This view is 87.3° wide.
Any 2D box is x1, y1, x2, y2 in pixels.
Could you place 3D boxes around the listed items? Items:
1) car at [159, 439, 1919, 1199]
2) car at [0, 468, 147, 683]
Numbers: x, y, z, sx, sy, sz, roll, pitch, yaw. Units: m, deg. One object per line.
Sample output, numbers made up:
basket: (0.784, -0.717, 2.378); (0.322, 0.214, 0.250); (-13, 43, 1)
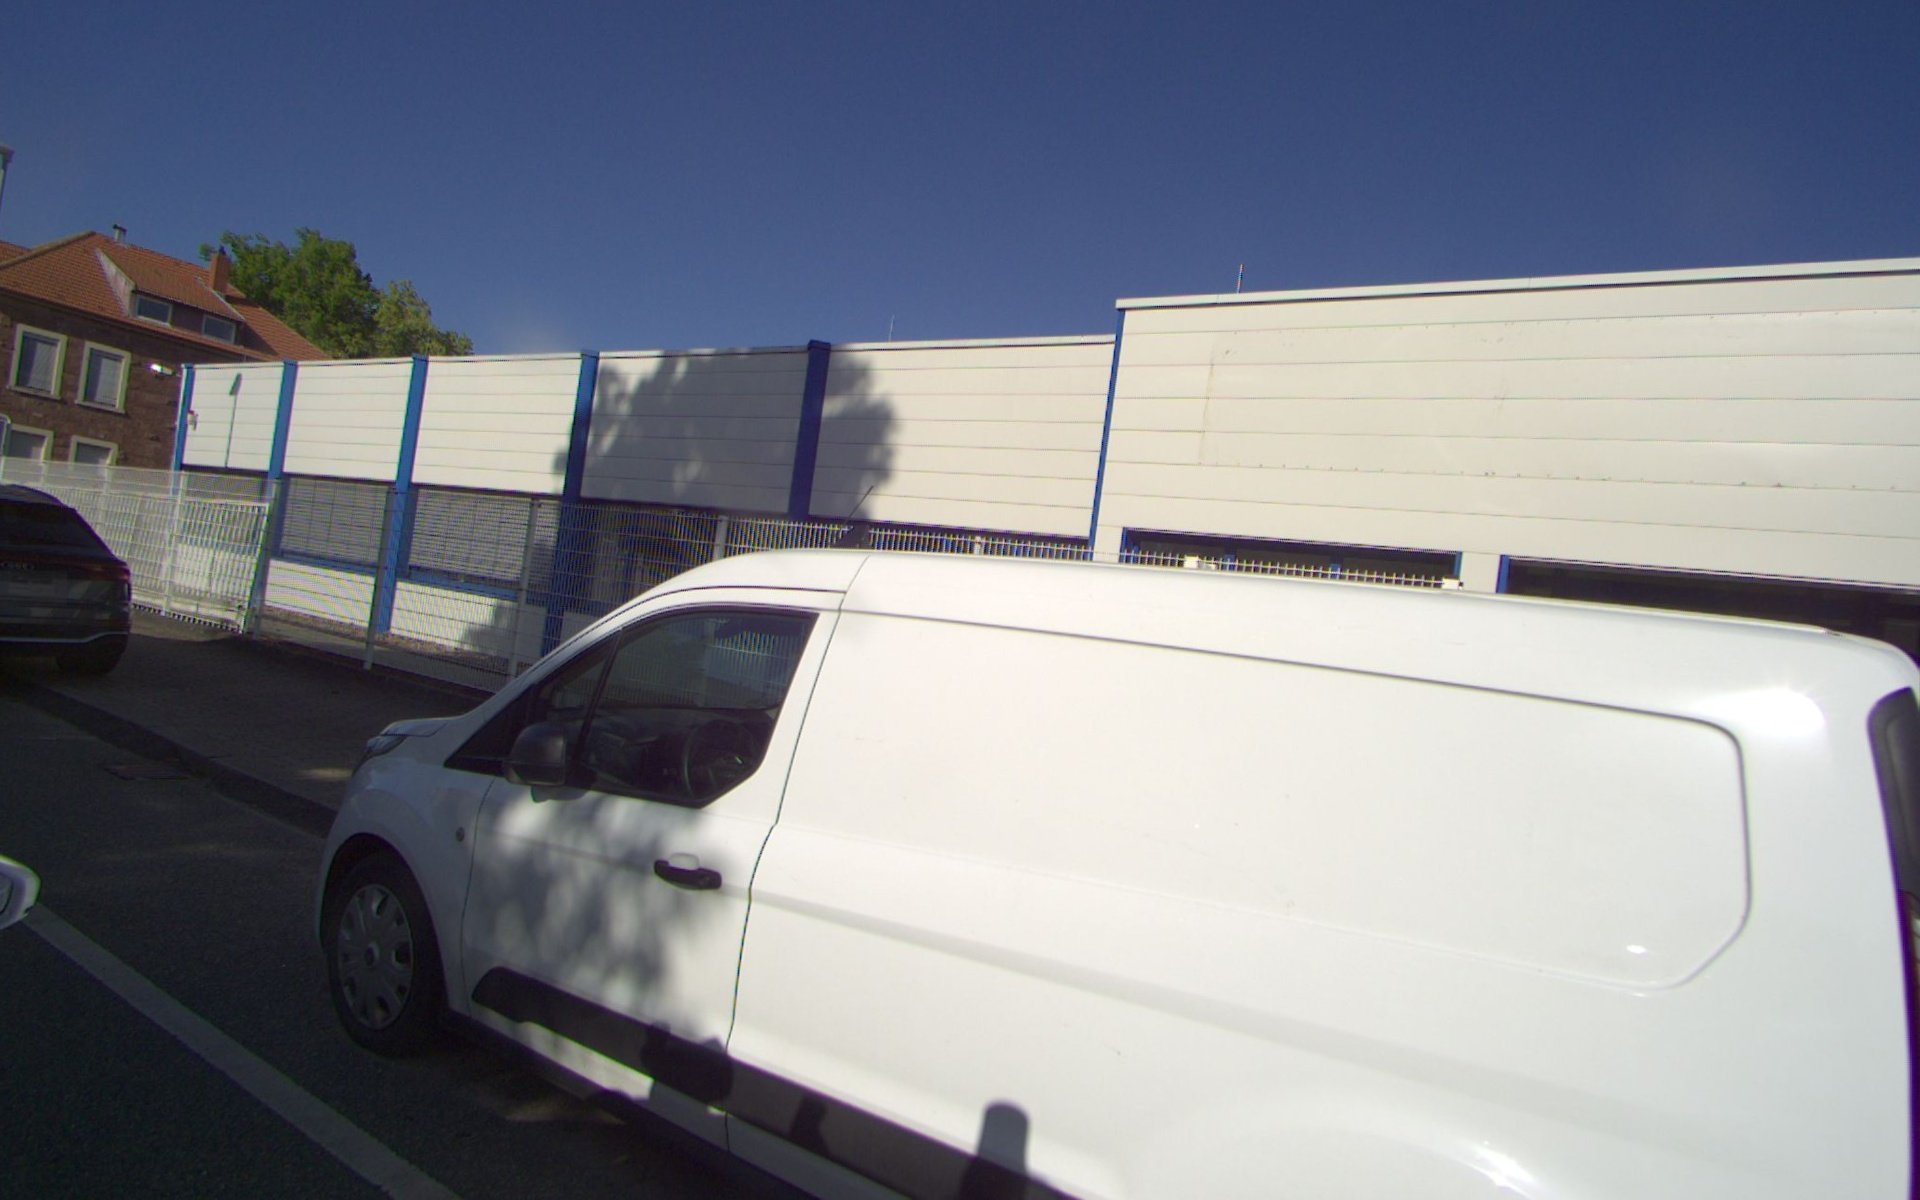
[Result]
car: (-0.133, 0.688, 3.101); (5.082, 1.850, 1.861); (6, -3, 32)
car: (-9.814, -0.452, 9.286); (4.653, 1.685, 1.999); (6, -3, 32)
